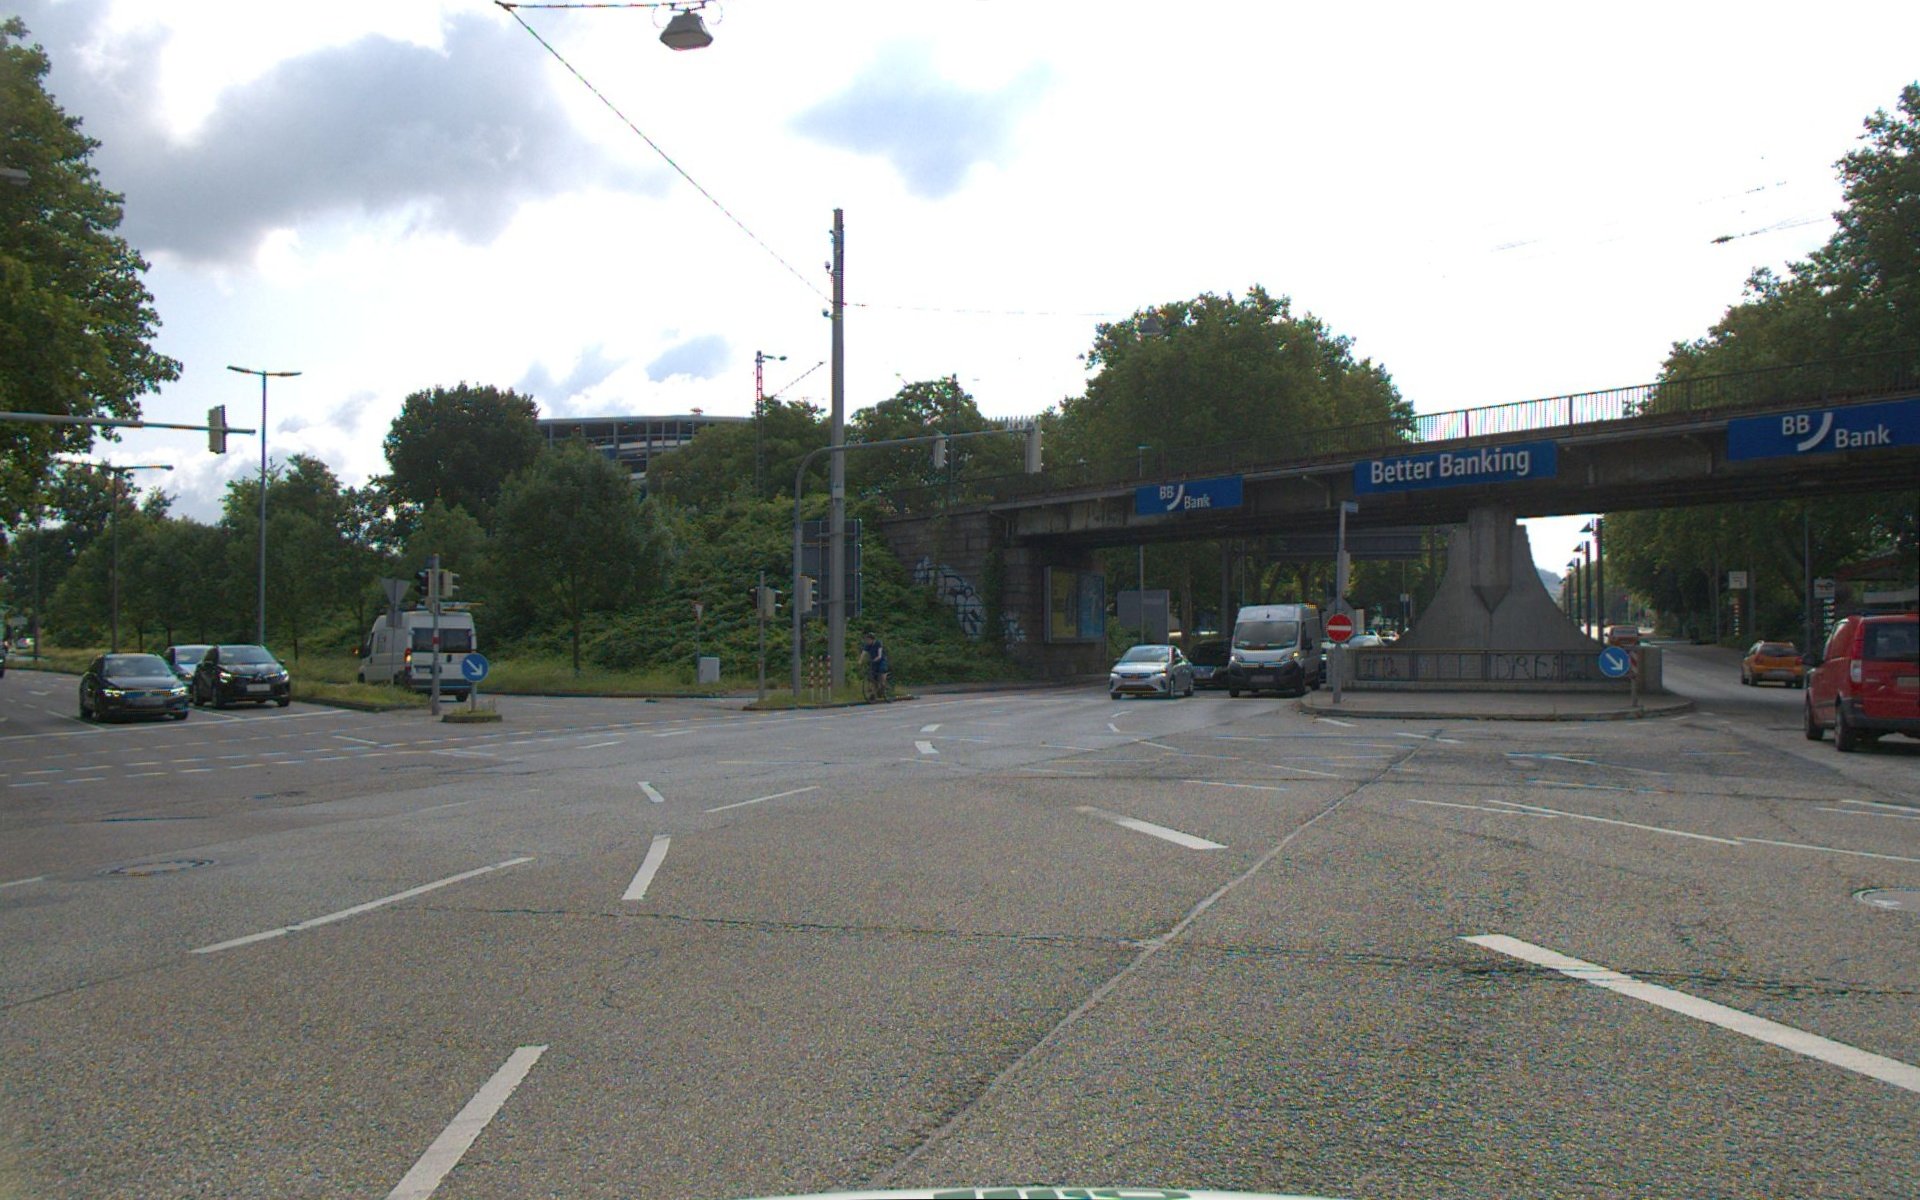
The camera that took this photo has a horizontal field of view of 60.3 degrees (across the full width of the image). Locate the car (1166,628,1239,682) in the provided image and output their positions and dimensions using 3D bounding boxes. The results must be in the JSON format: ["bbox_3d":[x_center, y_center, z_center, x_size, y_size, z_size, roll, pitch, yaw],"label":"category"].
[{"bbox_3d":[7.869,1.735,53.450,1.727,1.611,4.667,-2,-1,15],"label":"car"}]

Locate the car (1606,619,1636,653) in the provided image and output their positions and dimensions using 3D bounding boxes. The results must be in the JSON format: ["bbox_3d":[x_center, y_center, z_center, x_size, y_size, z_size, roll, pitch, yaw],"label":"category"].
[{"bbox_3d":[42.483,2.307,106.306,1.762,2.161,3.765,0,-1,22],"label":"car"}]

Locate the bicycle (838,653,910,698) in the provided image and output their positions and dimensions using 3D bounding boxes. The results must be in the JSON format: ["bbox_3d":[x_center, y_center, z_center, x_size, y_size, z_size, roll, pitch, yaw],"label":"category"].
[{"bbox_3d":[-2.234,1.955,43.270,0.826,1.113,2.315,0,-1,27],"label":"bicycle"}]

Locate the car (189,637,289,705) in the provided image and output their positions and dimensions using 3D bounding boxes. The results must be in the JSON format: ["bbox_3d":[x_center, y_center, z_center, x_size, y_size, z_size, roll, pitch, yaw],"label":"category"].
[{"bbox_3d":[-18.720,1.801,42.850,1.692,1.615,4.311,0,-1,-33],"label":"car"}]

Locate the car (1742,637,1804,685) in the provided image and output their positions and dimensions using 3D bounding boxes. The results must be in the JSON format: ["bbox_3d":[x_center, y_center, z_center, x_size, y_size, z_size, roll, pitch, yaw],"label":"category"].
[{"bbox_3d":[28.094,2.074,57.227,1.740,1.585,3.998,0,-1,24],"label":"car"}]

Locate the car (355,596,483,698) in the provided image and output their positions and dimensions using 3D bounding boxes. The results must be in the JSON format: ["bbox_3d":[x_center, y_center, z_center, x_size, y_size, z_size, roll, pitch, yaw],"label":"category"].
[{"bbox_3d":[-15.606,1.309,47.548,2.179,2.774,4.870,0,-1,-35],"label":"car"}]

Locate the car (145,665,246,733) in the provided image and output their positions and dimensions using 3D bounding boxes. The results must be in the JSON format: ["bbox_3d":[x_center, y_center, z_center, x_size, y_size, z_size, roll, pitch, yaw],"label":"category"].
[{"bbox_3d":[-22.004,2.804,47.544,1.977,1.758,3.950,0,-1,-35],"label":"car"}]

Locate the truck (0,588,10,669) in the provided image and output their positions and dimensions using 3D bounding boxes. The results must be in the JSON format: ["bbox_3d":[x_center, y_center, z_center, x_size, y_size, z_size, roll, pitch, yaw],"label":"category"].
[{"bbox_3d":[-51.267,1.367,85.765,2.627,3.956,10.036,1,0,-35],"label":"truck"}]

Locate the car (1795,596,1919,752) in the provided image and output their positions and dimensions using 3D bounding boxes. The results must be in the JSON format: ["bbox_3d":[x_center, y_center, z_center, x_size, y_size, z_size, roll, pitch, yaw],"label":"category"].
[{"bbox_3d":[13.671,1.010,24.275,1.915,2.052,4.677,2,0,20],"label":"car"}]

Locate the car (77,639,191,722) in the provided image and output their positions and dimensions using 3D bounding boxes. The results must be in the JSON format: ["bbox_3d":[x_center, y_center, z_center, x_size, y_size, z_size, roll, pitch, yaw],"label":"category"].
[{"bbox_3d":[-18.884,1.775,37.719,1.848,1.601,4.516,0,1,-33],"label":"car"}]

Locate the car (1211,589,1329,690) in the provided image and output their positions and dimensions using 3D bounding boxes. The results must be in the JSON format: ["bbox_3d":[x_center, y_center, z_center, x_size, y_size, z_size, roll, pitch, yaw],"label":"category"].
[{"bbox_3d":[8.803,1.085,46.517,2.211,2.570,5.626,-3,-2,21],"label":"car"}]

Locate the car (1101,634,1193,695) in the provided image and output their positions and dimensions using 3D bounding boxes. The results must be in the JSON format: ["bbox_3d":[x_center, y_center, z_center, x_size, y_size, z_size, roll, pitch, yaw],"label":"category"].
[{"bbox_3d":[5.184,1.739,45.422,1.667,1.502,4.001,-3,-2,19],"label":"car"}]

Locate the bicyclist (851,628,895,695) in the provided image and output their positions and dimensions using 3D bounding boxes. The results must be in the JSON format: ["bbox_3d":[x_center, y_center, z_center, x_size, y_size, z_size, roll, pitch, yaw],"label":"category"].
[{"bbox_3d":[-2.272,1.606,43.221,0.826,1.708,0.823,-2,-1,27],"label":"bicyclist"}]

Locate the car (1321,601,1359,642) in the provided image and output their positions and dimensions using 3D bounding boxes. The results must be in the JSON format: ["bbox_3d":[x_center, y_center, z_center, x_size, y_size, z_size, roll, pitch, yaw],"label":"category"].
[{"bbox_3d":[26.203,1.492,113.993,2.197,2.623,5.629,-3,-2,15],"label":"car"}]
